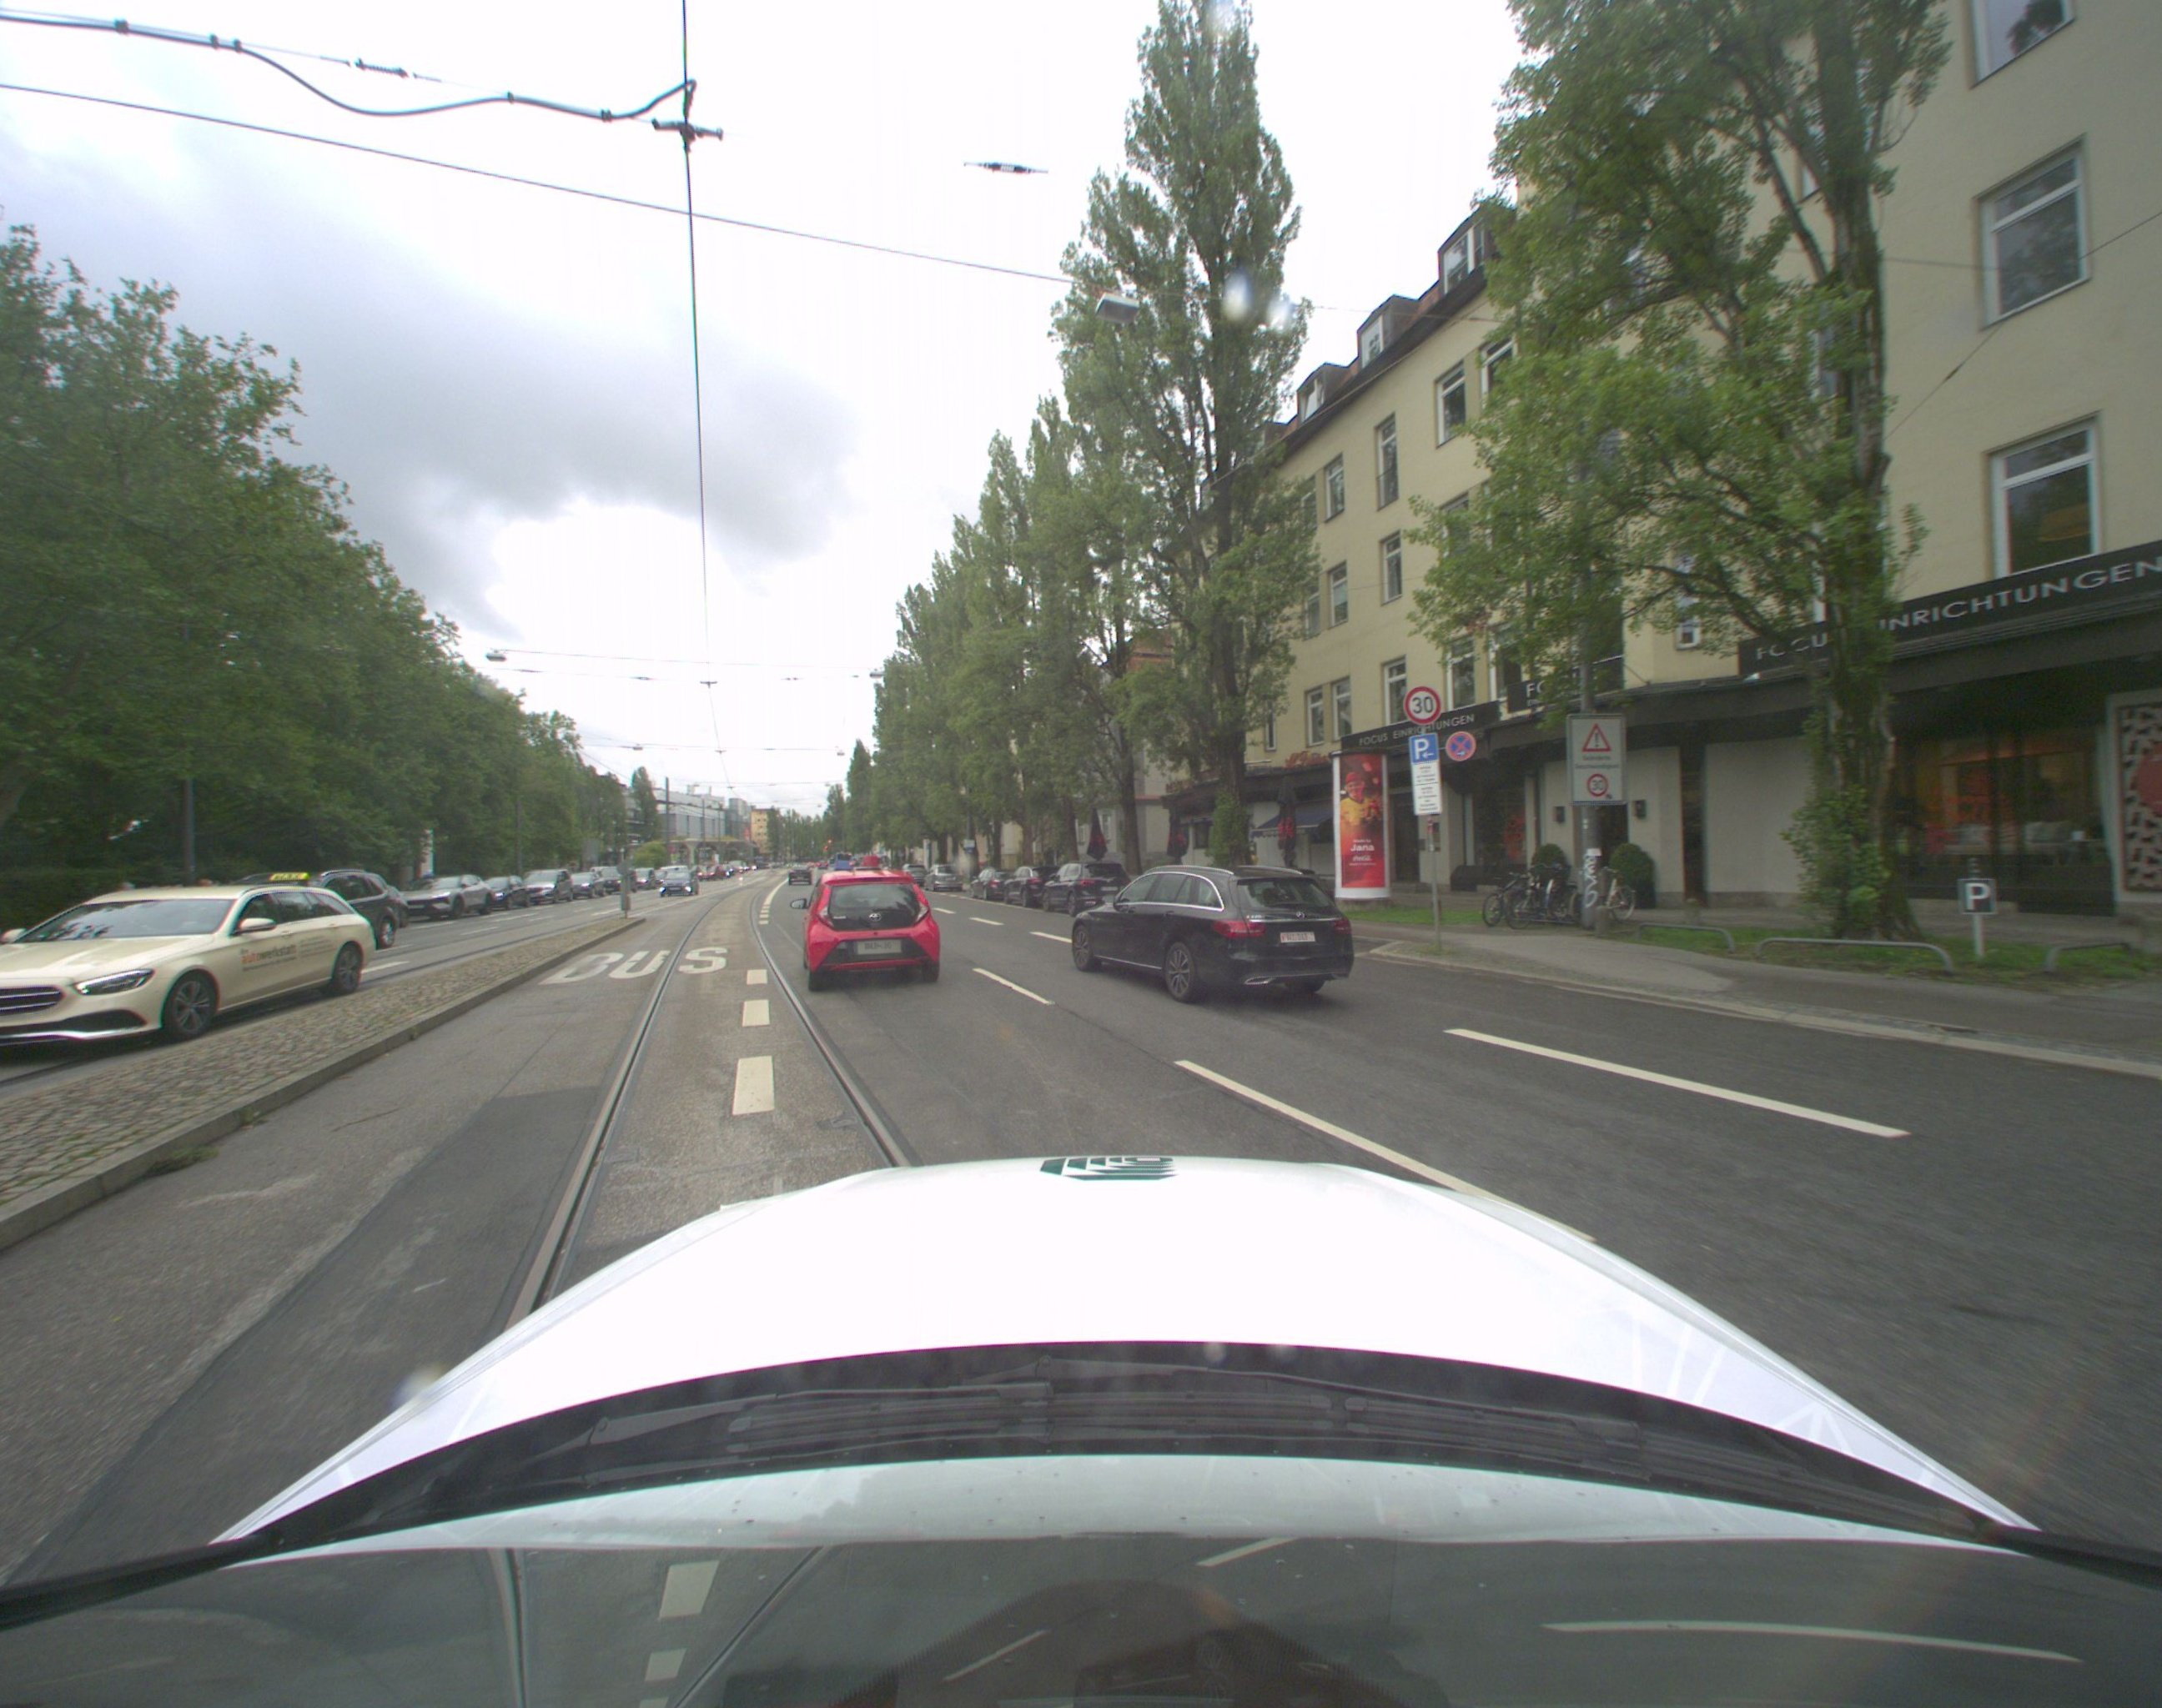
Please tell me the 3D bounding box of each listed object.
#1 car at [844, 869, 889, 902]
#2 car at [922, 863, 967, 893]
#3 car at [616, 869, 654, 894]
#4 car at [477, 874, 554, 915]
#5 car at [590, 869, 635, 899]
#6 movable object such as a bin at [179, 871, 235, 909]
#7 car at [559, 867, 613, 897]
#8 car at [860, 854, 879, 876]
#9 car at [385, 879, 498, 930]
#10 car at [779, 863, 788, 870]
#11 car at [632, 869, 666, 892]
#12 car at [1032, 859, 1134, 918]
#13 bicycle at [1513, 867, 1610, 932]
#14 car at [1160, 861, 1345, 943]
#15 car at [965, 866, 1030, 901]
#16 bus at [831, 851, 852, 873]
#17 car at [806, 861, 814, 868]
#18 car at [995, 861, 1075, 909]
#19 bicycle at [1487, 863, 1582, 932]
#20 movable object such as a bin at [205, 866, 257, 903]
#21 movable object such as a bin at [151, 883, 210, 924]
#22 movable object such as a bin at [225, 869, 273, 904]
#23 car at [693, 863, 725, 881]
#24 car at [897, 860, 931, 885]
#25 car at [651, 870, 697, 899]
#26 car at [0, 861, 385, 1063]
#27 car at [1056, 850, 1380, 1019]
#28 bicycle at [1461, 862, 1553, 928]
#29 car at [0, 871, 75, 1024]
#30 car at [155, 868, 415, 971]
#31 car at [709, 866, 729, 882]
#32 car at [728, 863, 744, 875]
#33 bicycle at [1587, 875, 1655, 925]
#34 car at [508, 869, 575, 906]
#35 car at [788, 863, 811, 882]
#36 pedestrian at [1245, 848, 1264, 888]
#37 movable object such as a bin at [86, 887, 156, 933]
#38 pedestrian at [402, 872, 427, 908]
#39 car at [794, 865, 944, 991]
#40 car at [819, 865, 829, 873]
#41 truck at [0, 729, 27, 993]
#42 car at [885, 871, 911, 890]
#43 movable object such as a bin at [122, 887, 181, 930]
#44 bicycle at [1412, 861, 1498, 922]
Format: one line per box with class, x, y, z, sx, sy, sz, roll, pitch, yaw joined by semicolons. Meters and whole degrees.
car;-10.353;1.468;39.104;1.786;1.486;3.974;-1;-1;-19
car;-8.126;1.380;48.295;1.806;1.612;4.515;-2;0;-20
car;-35.119;2.104;64.229;1.805;1.788;4.489;-3;0;-19
car;-26.221;1.838;37.929;1.805;1.667;4.326;-2;0;-19
car;-32.880;2.055;57.281;1.805;1.991;5.006;-2;0;-19
movable object such as a bin;-31.930;1.312;29.778;0.938;1.353;1.268;1;-1;-24
car;-30.035;1.667;49.524;1.805;1.634;4.558;-2;0;-19
car;-26.906;1.387;103.426;2.000;2.574;4.650;-1;1;-19
car;-24.111;1.845;30.932;1.805;1.642;4.967;-2;0;-19
car;-68.852;2.830;188.282;1.786;1.486;3.974;-1;-1;-19
car;-37.057;2.223;69.884;1.805;1.788;4.489;-3;0;-19
car;-0.054;1.019;25.515;1.727;1.612;4.440;-2;0;-20
bicycle;8.765;0.805;14.839;1.891;1.082;0.492;-2;-1;-23
car;3.424;0.913;17.029;1.807;1.466;3.969;-1;-1;-23
car;-3.793;1.265;36.267;1.806;1.398;4.351;-2;0;-20
bus;-40.578;1.334;137.913;2.915;3.396;10.737;-1;1;-19
car;-71.910;2.720;216.097;1.807;1.596;3.978;-1;-3;-15
car;-1.801;1.115;30.636;1.806;1.612;4.275;-2;0;-20
bicycle;8.540;0.790;15.314;1.891;1.185;0.492;-2;-1;-23
movable object such as a bin;-32.336;1.170;31.010;0.938;1.353;1.074;4;-3;-24
movable object such as a bin;-31.479;1.725;28.483;0.938;1.353;1.120;2;-2;-24
movable object such as a bin;-32.749;1.271;32.063;0.938;1.353;1.074;2;-2;-24
car;-41.505;1.977;90.940;1.797;1.788;4.510;-3;0;-6
car;-12.526;1.337;60.974;1.806;1.743;4.668;-2;0;-20
car;-23.772;1.755;47.743;1.805;1.522;4.326;-2;-1;-19
car;-9.886;0.944;8.951;1.829;1.638;4.856;-2;0;-21
car;1.353;0.766;10.220;1.870;1.549;4.670;-2;0;-21
bicycle;8.378;0.777;16.000;1.891;1.185;0.492;-2;-1;-23
car;-12.334;1.039;7.303;1.922;1.683;4.857;-2;0;-21
car;-15.655;1.166;16.444;1.828;1.683;4.859;-2;0;-19
car;-44.191;2.441;99.525;1.806;1.788;4.487;-3;0;-21
car;-50.762;2.195;119.901;1.805;1.664;4.490;-3;0;-18
bicycle;10.339;0.861;15.582;1.373;0.883;0.386;-2;-1;-23
car;-28.342;1.704;42.930;1.805;1.779;4.443;-2;0;-19
car;-23.835;1.556;69.047;1.741;1.549;4.546;-2;0;-19
pedestrian;7.057;0.559;33.074;0.574;1.562;0.492;-1;1;-19
movable object such as a bin;-30.341;1.753;25.769;0.938;1.353;1.074;5;-3;-24
pedestrian;-33.421;1.792;40.835;0.664;1.790;0.815;-1;-1;-11
car;-3.068;0.885;11.325;1.635;1.440;3.352;0;-1;-22
car;-49.493;2.810;156.661;1.786;1.486;3.974;-1;0;-19
truck;-15.581;0.052;6.651;2.750;3.980;11.631;-3;0;-21
car;-15.885;2.260;70.520;1.805;1.508;3.974;-1;-1;-19
movable object such as a bin;-30.941;1.786;27.138;0.938;1.353;1.006;-1;-1;-24
bicycle;7.934;0.781;17.277;1.891;1.185;0.492;-2;-1;-23
